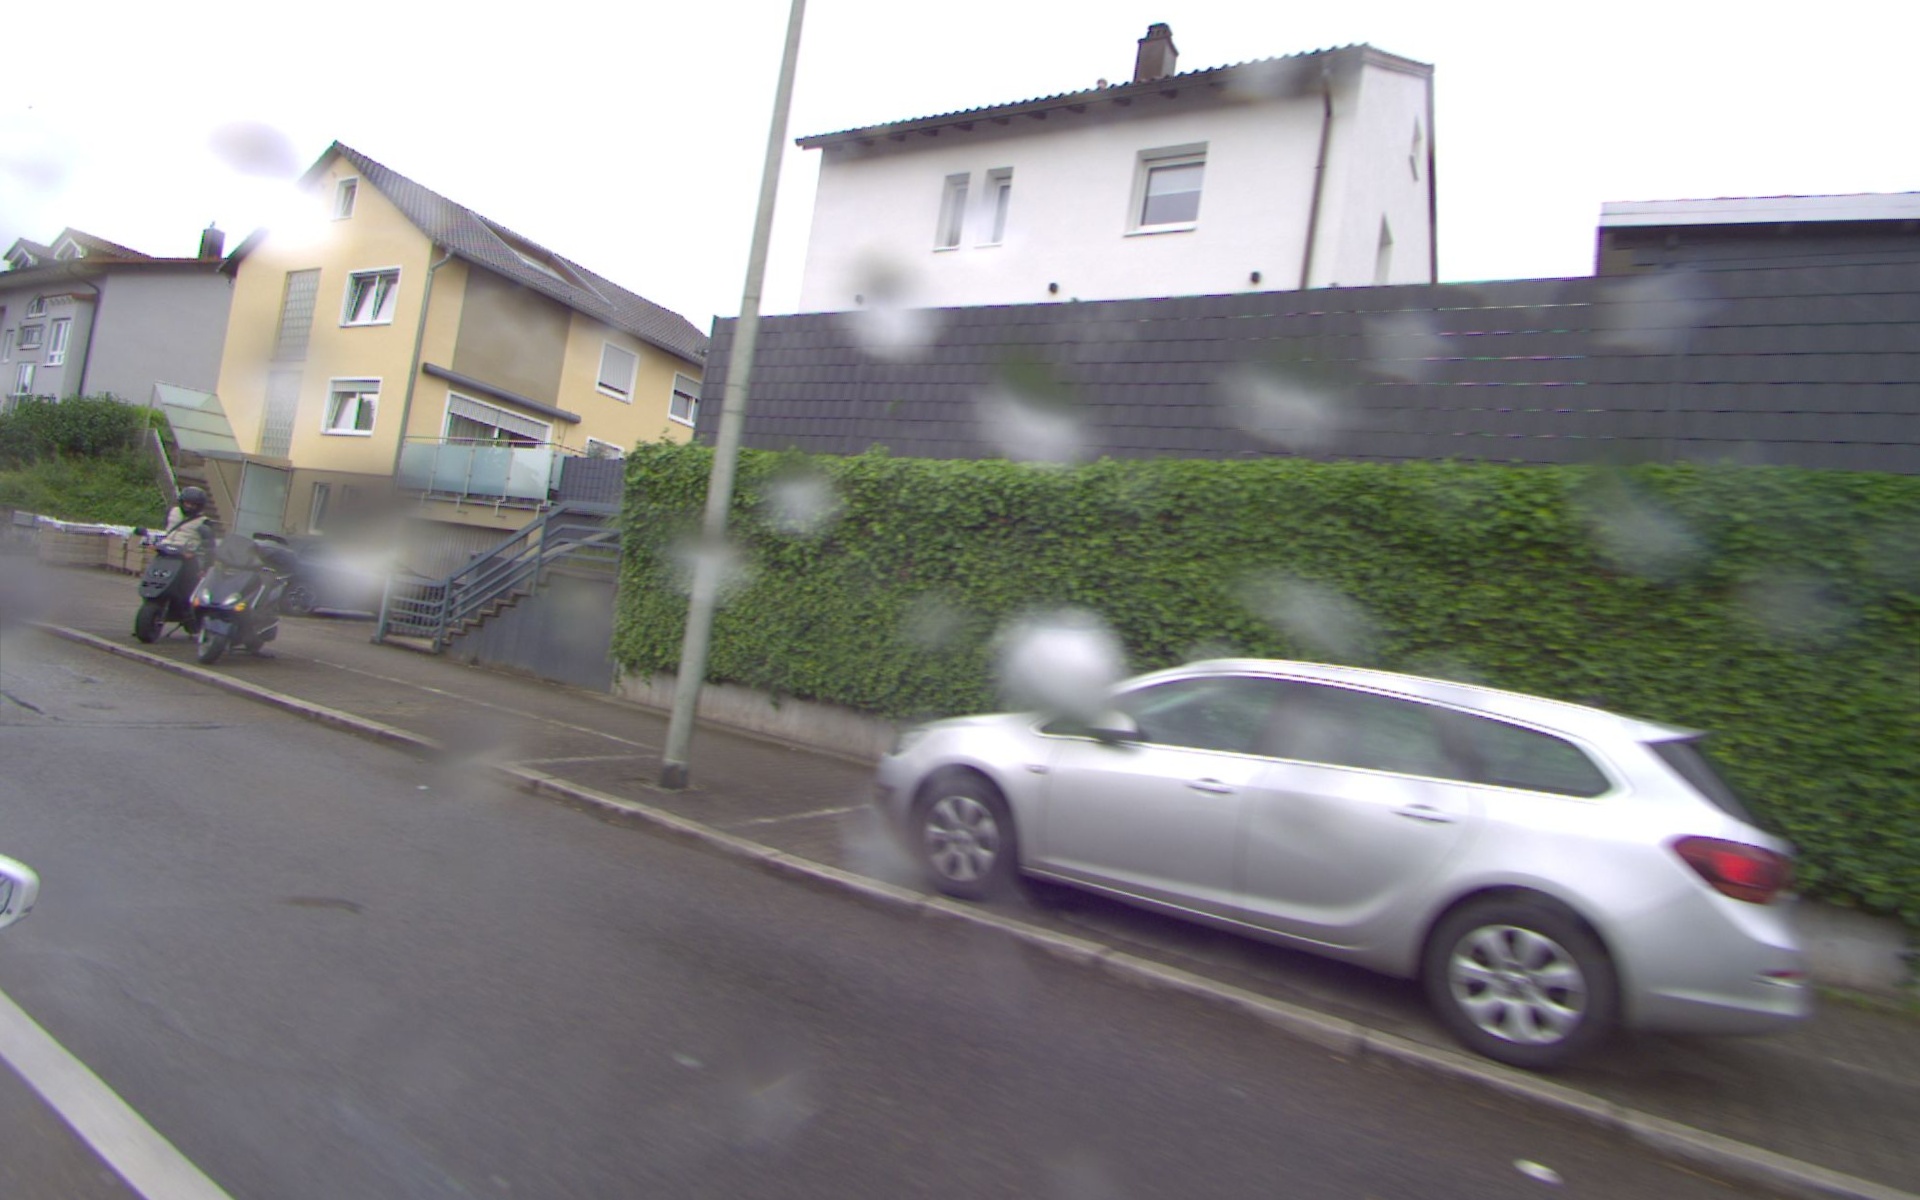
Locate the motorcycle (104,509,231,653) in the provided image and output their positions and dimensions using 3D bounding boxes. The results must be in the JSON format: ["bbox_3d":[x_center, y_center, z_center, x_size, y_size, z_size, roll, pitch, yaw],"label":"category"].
[{"bbox_3d":[-9.246,-0.226,11.821,0.752,1.467,2.073,9,-2,-31],"label":"motorcycle"}]

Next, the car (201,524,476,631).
[{"bbox_3d":[-11.747,-0.359,19.302,1.837,1.450,3.996,7,-2,30],"label":"car"}]

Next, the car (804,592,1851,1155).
[{"bbox_3d":[1.521,1.027,5.362,4.459,1.527,1.704,7,-3,31],"label":"car"}]

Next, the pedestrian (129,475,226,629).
[{"bbox_3d":[-9.194,-0.553,11.848,0.616,1.668,0.826,9,-2,-32],"label":"pedestrian"}]

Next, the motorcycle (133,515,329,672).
[{"bbox_3d":[-7.939,-0.062,11.110,0.809,1.467,2.085,8,-1,-12],"label":"motorcycle"}]
